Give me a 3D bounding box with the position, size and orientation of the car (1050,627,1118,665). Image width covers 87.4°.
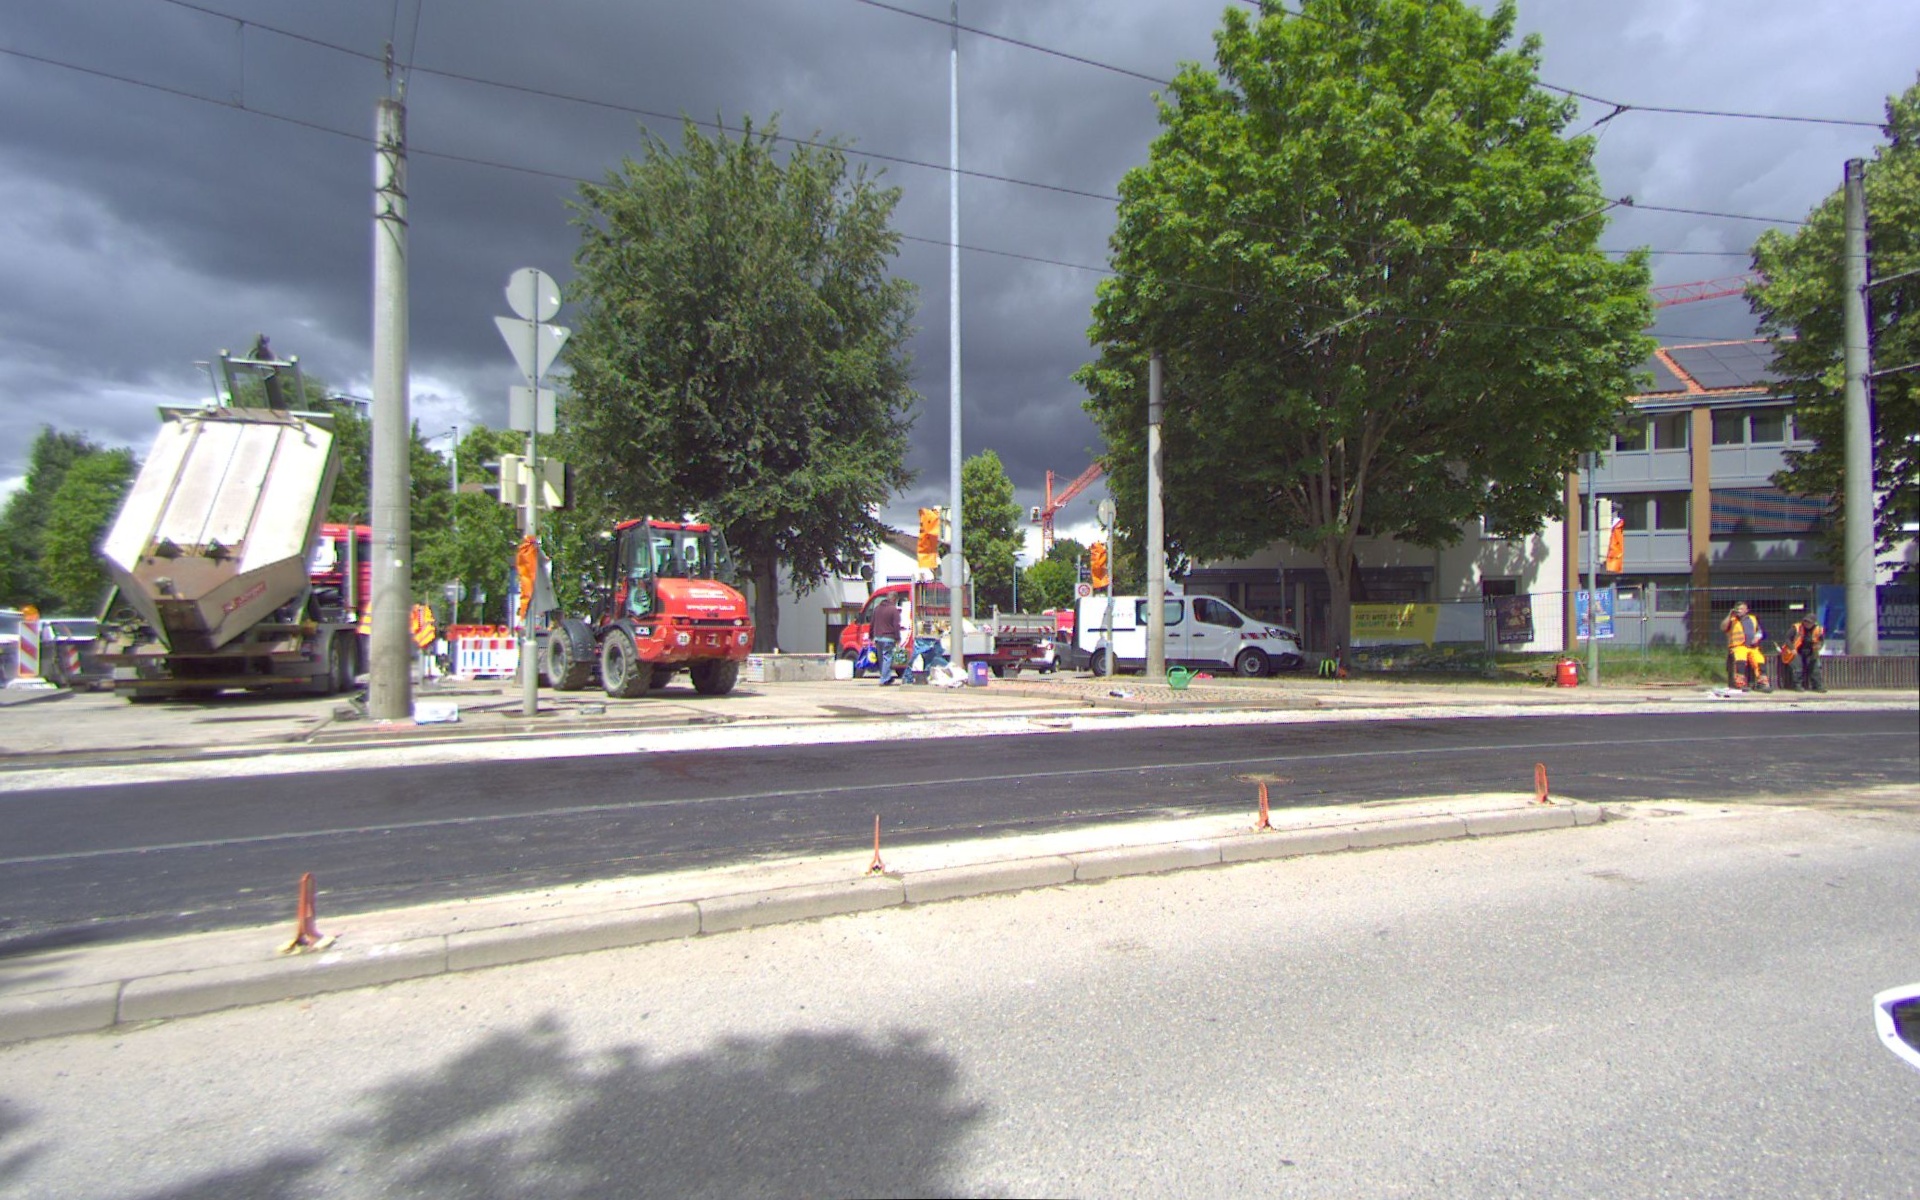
[{"bbox_3d":[5.141,1.842,41.183,1.744,1.478,3.874,-1,-2,24],"label":"car"}]

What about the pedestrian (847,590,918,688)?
[{"bbox_3d":[-1.368,0.671,17.759,0.868,1.682,0.917,0,0,-43],"label":"pedestrian"}]

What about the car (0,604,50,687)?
[{"bbox_3d":[-24.071,1.101,24.305,4.269,1.906,1.995,-2,-2,33],"label":"car"}]

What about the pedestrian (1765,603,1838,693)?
[{"bbox_3d":[14.953,0.842,17.868,0.893,1.553,0.839,-1,-1,35],"label":"pedestrian"}]

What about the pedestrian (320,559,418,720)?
[{"bbox_3d":[-7.137,0.464,12.128,0.961,1.857,0.789,1,0,-33],"label":"pedestrian"}]

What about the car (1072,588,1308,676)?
[{"bbox_3d":[5.428,0.774,23.813,5.153,1.911,1.998,-1,-3,26],"label":"car"}]

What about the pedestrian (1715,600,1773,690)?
[{"bbox_3d":[14.009,0.790,17.959,0.750,1.561,0.796,-1,-1,35],"label":"pedestrian"}]

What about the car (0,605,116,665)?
[{"bbox_3d":[-33.140,1.294,36.689,5.809,2.040,1.994,-2,-2,34],"label":"car"}]

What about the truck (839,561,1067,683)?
[{"bbox_3d":[-0.313,0.594,24.364,2.403,2.602,5.511,1,-3,-44],"label":"truck"}]

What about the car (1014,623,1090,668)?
[{"bbox_3d":[3.209,1.547,34.515,1.535,1.474,3.200,-1,-2,27],"label":"car"}]

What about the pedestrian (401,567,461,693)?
[{"bbox_3d":[-7.801,0.428,14.805,0.574,1.813,0.609,-1,0,44],"label":"pedestrian"}]

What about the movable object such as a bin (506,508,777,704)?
[{"bbox_3d":[-5.442,0.109,16.628,2.101,2.704,5.516,1,-1,-43],"label":"movable object such as a bin"}]

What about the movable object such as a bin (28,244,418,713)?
[{"bbox_3d":[-11.243,-1.301,16.598,2.779,5.557,8.994,0,-2,-21],"label":"movable object such as a bin"}]
